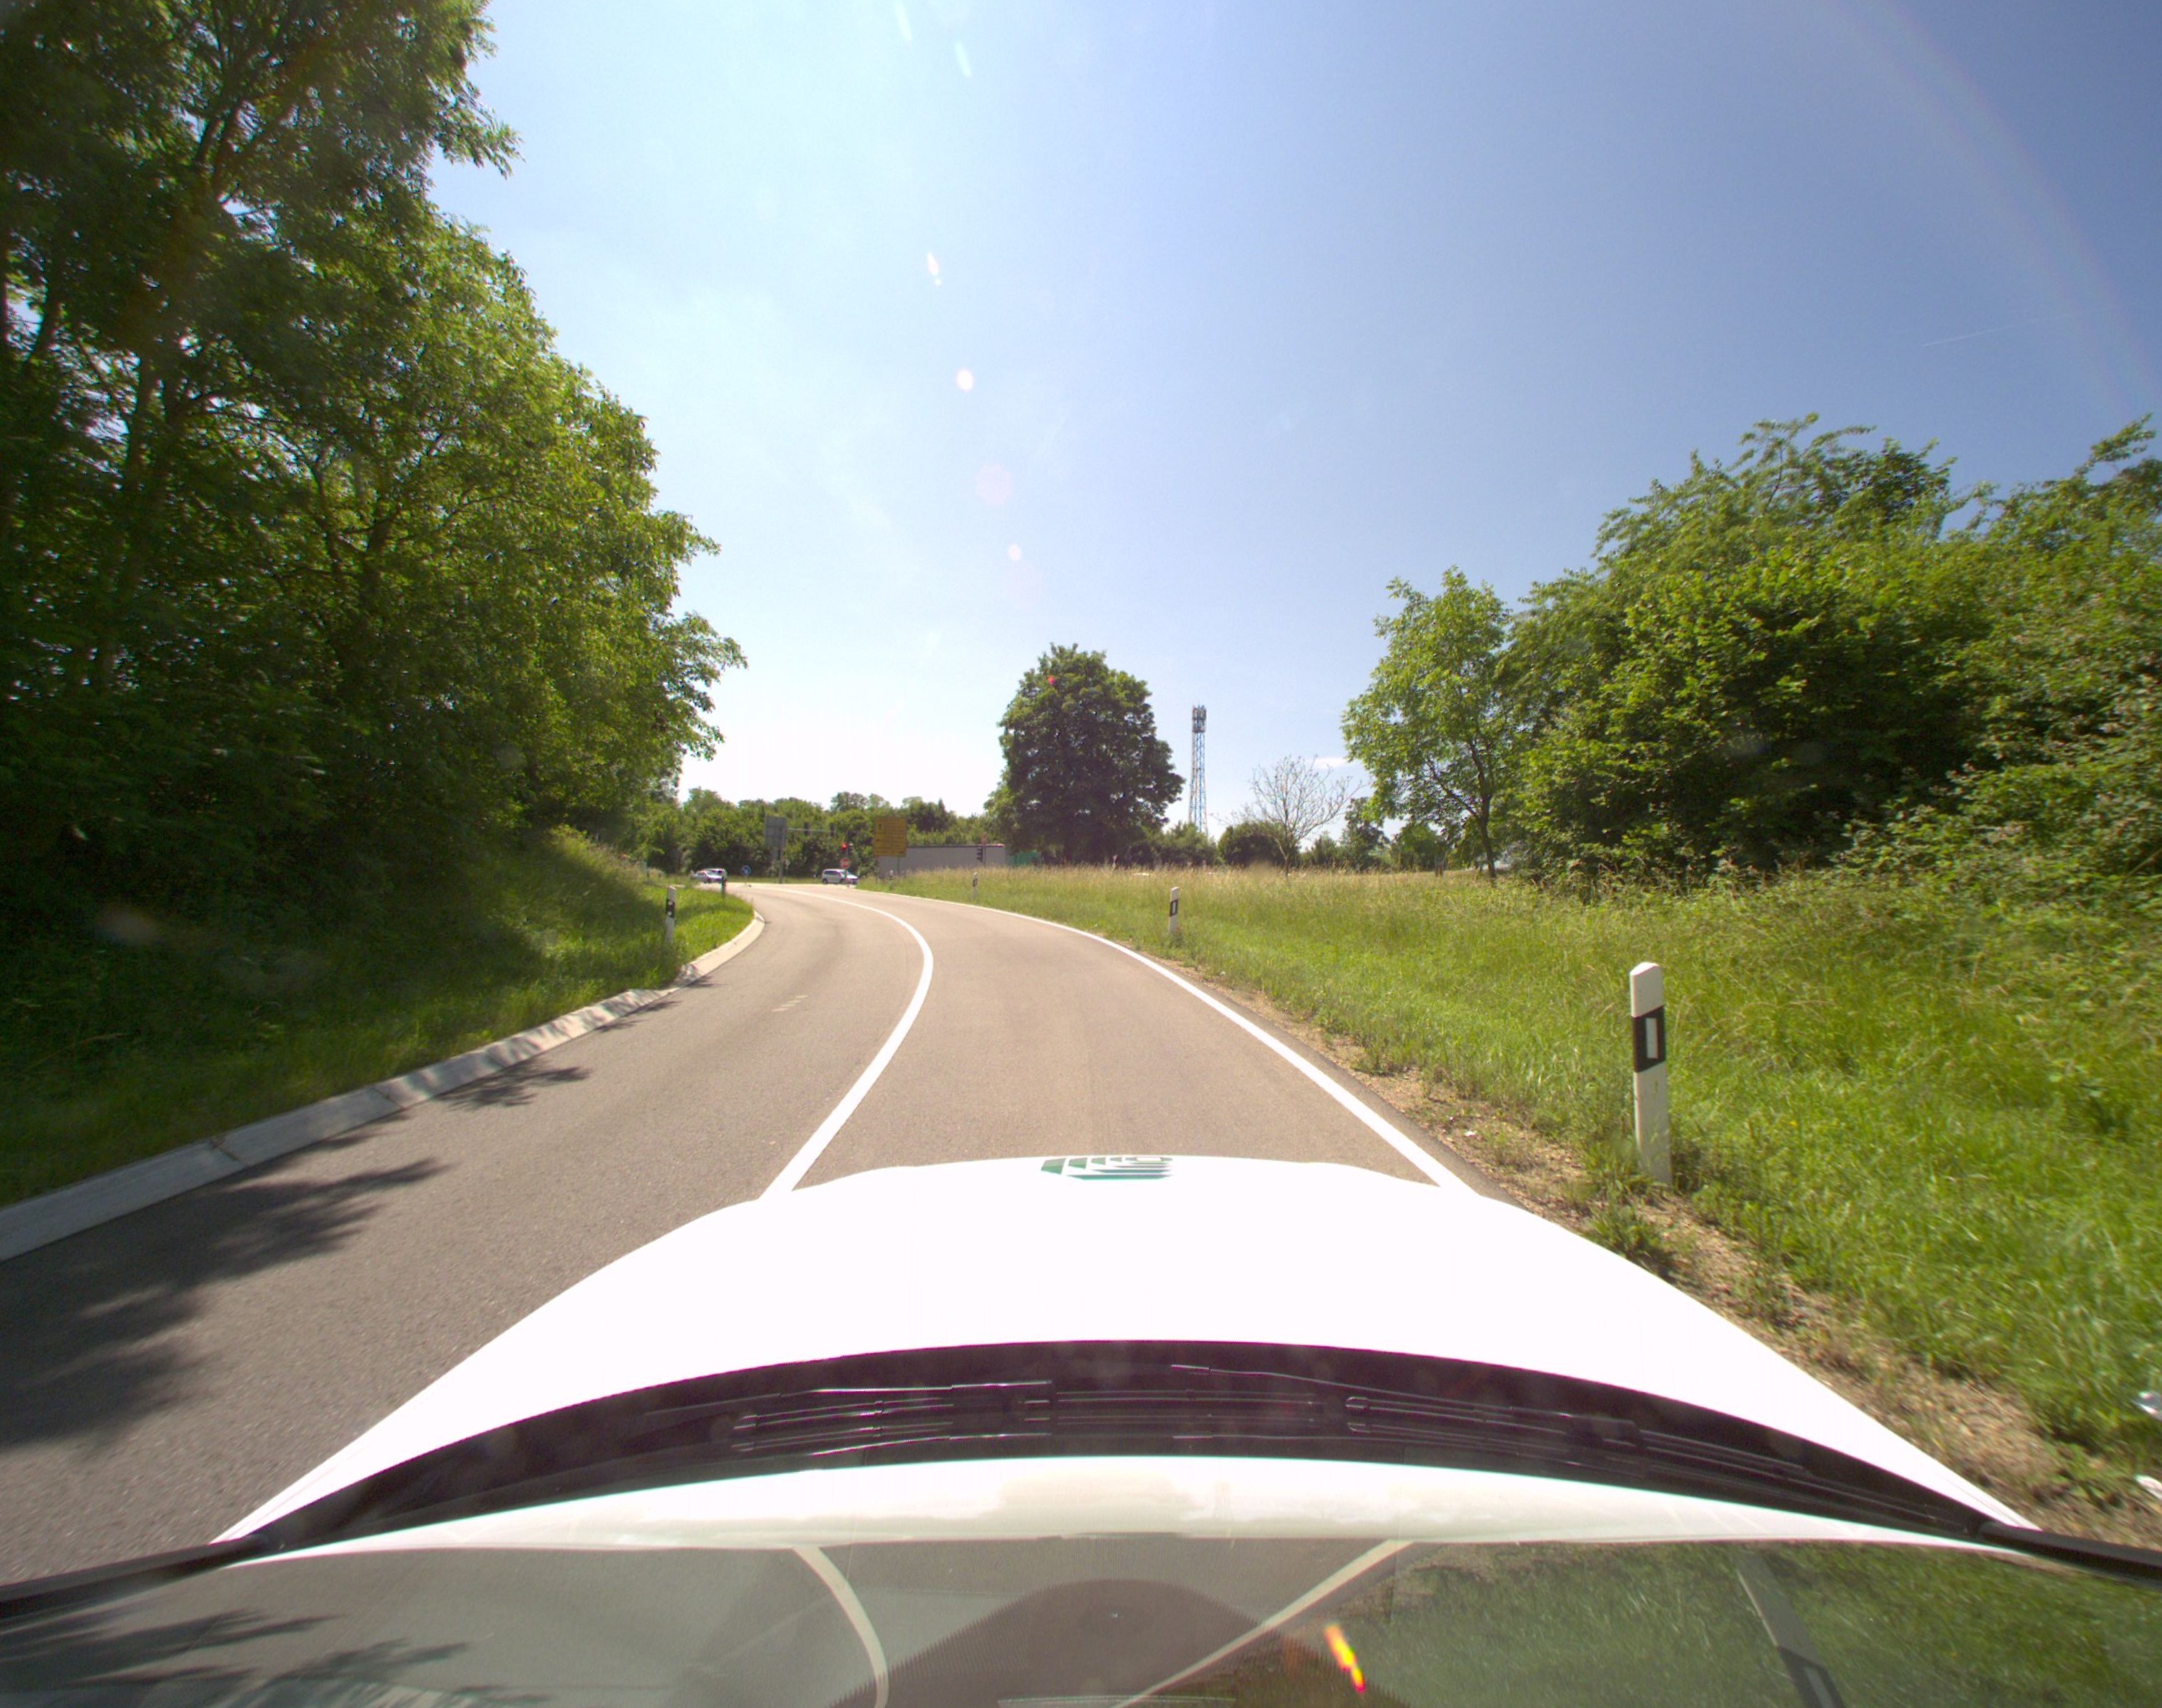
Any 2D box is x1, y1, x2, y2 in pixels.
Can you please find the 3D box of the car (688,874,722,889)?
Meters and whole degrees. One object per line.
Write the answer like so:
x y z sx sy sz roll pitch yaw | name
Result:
-43.445 3.178 94.130 3.864 1.575 1.670 -2 -1 31 | car

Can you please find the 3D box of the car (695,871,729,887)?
-45.121 3.066 99.584 3.613 1.706 1.638 -2 0 22 | car

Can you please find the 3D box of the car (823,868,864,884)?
-24.721 2.313 84.832 3.649 1.575 1.733 -2 -1 17 | car

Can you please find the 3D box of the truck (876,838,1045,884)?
-11.884 0.771 79.804 16.505 4.173 3.148 -1 -2 16 | truck
